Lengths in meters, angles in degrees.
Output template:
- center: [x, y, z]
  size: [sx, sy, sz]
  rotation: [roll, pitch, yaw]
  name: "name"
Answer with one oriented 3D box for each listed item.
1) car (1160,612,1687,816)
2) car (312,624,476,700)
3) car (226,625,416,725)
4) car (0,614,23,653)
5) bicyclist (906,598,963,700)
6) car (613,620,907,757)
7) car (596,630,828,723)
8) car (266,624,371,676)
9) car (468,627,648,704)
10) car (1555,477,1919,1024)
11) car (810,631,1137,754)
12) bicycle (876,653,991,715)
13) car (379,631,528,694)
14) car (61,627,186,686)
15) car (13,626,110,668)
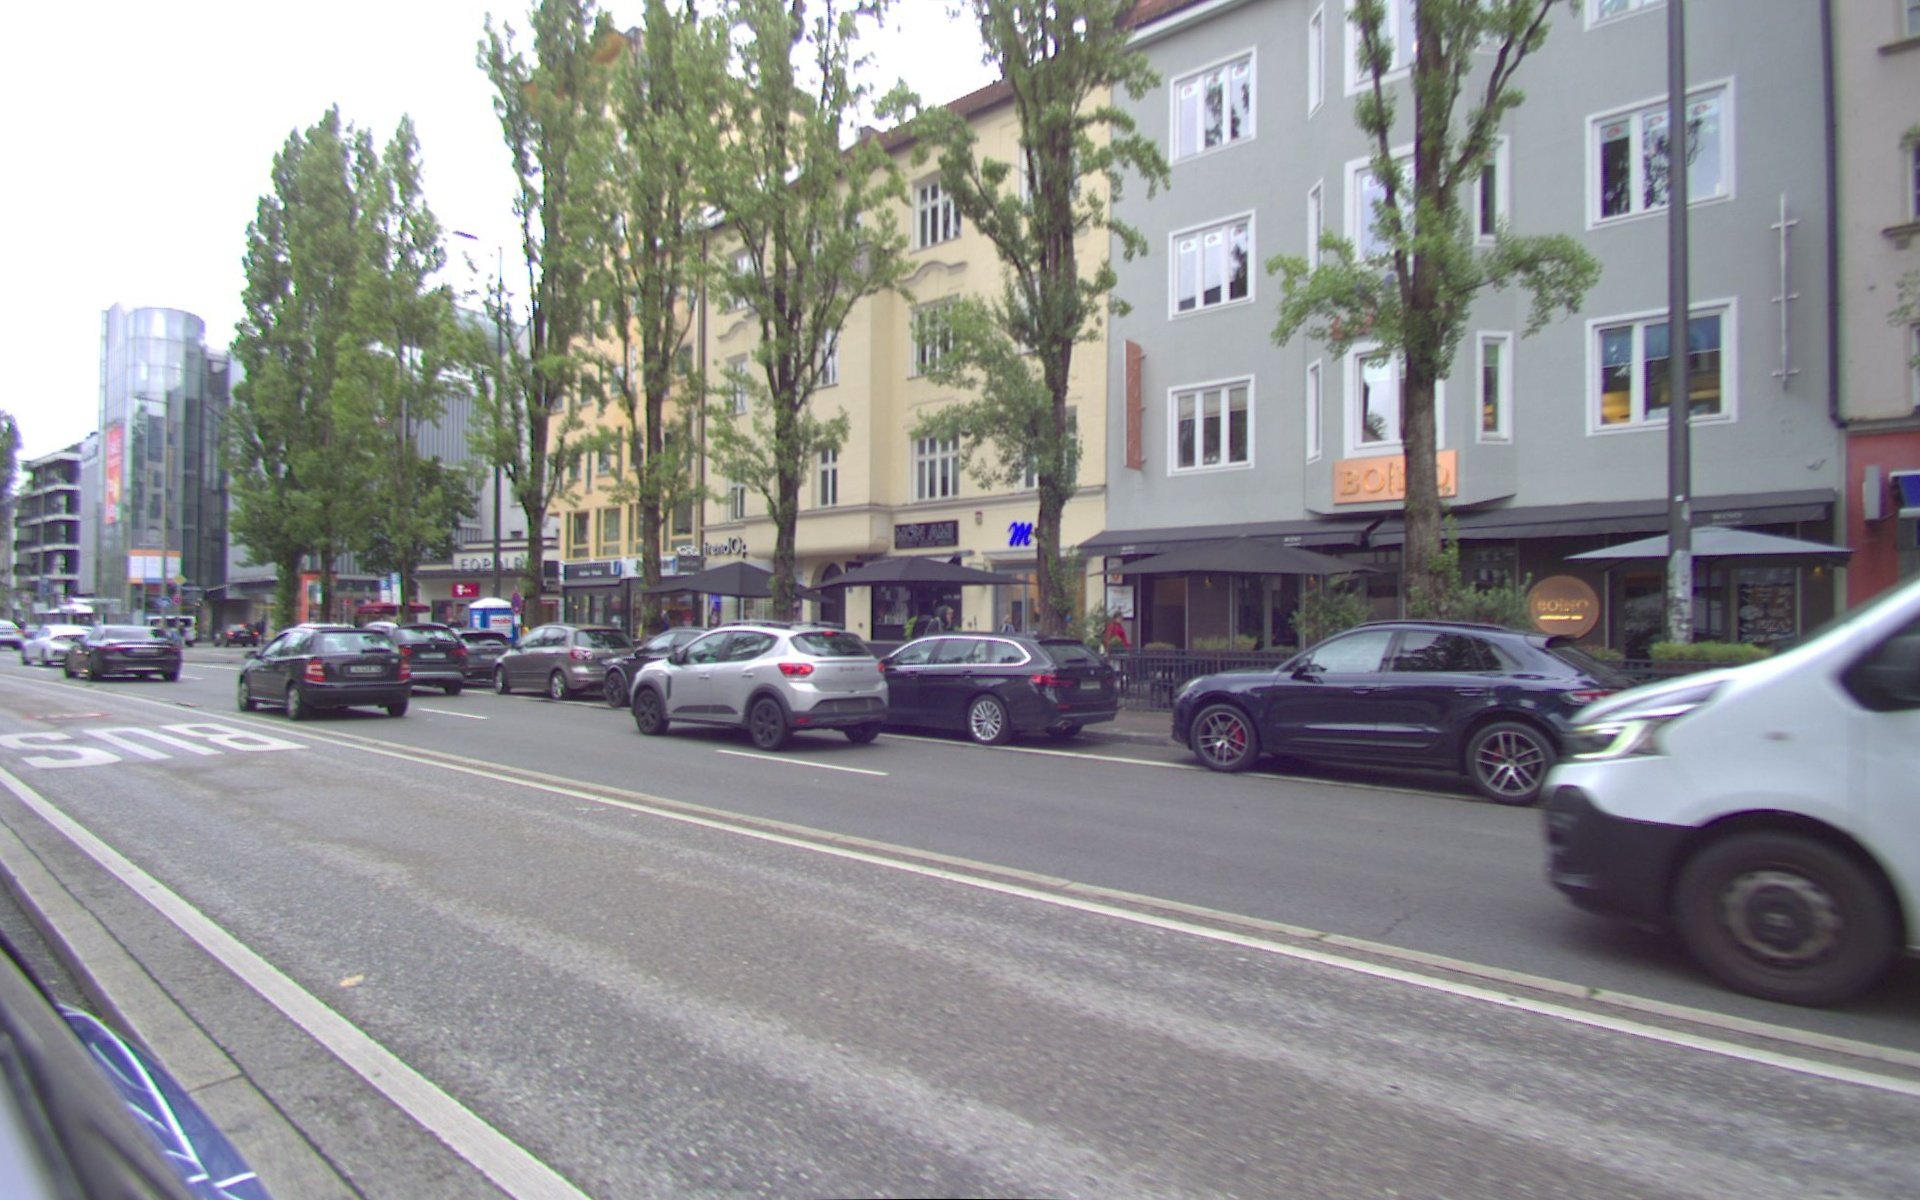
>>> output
- center: [4.495, 0.977, 10.312]
  size: [4.572, 1.625, 1.778]
  rotation: [-1, -3, 41]
  name: "car"
- center: [-12.608, 1.309, 22.440]
  size: [4.360, 1.530, 1.728]
  rotation: [-1, -3, 40]
  name: "car"
- center: [-10.474, 1.138, 16.511]
  size: [3.593, 1.451, 1.596]
  rotation: [-1, -3, 40]
  name: "car"
- center: [-51.995, 1.766, 54.255]
  size: [3.994, 2.029, 1.974]
  rotation: [-1, -2, 38]
  name: "car"
- center: [-0.448, 0.838, 17.598]
  size: [0.816, 1.718, 0.598]
  rotation: [-1, -2, 42]
  name: "bicyclist"
- center: [-2.757, 1.066, 13.479]
  size: [4.075, 1.553, 1.695]
  rotation: [-1, -3, 41]
  name: "car"
- center: [-4.573, 1.291, 18.273]
  size: [4.572, 1.451, 1.778]
  rotation: [-1, -3, 41]
  name: "car"
- center: [-20.893, 1.596, 32.922]
  size: [4.103, 1.590, 1.778]
  rotation: [-1, -3, 41]
  name: "car"
- center: [-8.885, 1.367, 22.174]
  size: [4.572, 1.515, 1.778]
  rotation: [-1, -3, 41]
  name: "car"
- center: [5.088, 0.553, 3.400]
  size: [5.069, 1.947, 1.872]
  rotation: [-1, -4, 41]
  name: "car"
- center: [0.054, 1.180, 14.283]
  size: [4.572, 1.451, 1.778]
  rotation: [-1, -3, 41]
  name: "car"
- center: [-0.491, 1.431, 17.620]
  size: [2.173, 0.976, 0.605]
  rotation: [-1, -2, 41]
  name: "bicycle"
- center: [-12.986, 1.522, 25.831]
  size: [4.572, 1.451, 1.778]
  rotation: [-1, -3, 41]
  name: "car"
- center: [-22.013, 1.436, 26.576]
  size: [4.360, 1.410, 1.758]
  rotation: [-1, -3, 40]
  name: "car"
- center: [-32.007, 1.650, 36.028]
  size: [4.075, 1.410, 1.760]
  rotation: [-1, -3, 36]
  name: "car"
